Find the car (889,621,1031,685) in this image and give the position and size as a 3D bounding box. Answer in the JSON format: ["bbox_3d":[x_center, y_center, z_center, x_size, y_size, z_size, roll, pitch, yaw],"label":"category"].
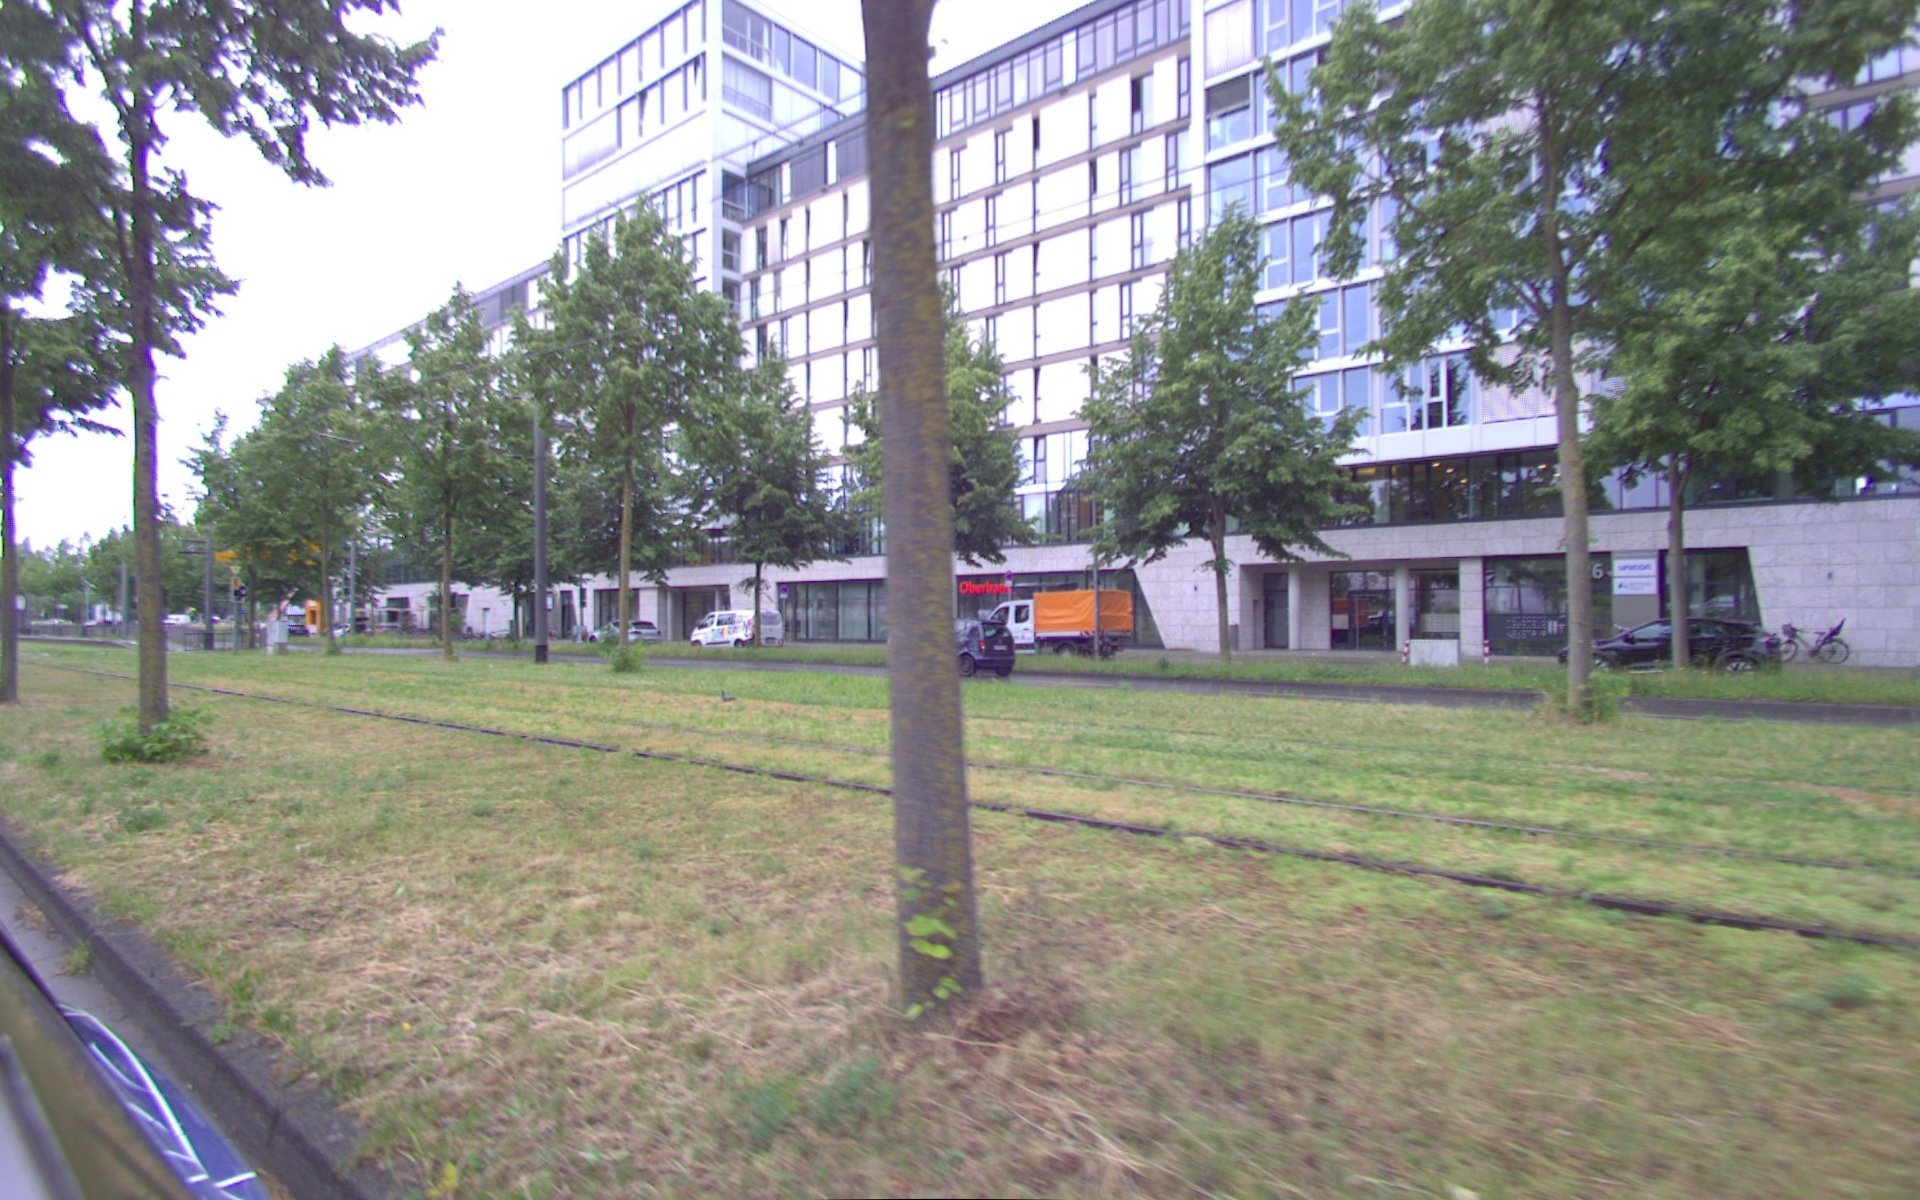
[{"bbox_3d":[-0.039,1.433,28.385,1.970,1.669,3.702,1,-2,-44],"label":"car"}]

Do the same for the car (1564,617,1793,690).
[{"bbox_3d":[15.826,1.132,22.397,3.985,1.476,1.836,-2,-2,40],"label":"car"}]

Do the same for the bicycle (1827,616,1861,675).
[{"bbox_3d":[24.272,1.218,27.798,0.606,1.550,1.552,-2,-1,39],"label":"bicycle"}]

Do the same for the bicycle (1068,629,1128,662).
[{"bbox_3d":[4.139,1.367,30.438,1.757,0.952,0.592,-2,-2,44],"label":"bicycle"}]

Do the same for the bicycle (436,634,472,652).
[{"bbox_3d":[-31.902,2.700,63.825,0.696,1.042,1.957,-2,-1,41],"label":"bicycle"}]

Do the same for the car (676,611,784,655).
[{"bbox_3d":[-10.303,1.464,45.164,5.160,1.866,1.973,-2,-1,40],"label":"car"}]

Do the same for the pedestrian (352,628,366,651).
[{"bbox_3d":[-45.052,2.976,75.808,0.793,1.704,0.703,-2,-1,43],"label":"pedestrian"}]

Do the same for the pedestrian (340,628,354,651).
[{"bbox_3d":[-45.570,2.937,75.247,0.793,1.704,0.703,-2,-1,43],"label":"pedestrian"}]

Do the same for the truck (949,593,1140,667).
[{"bbox_3d":[2.785,1.021,34.655,6.304,2.309,2.402,-2,-1,40],"label":"truck"}]

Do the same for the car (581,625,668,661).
[{"bbox_3d":[-16.817,2.119,50.582,4.460,1.725,2.123,-2,-1,40],"label":"car"}]

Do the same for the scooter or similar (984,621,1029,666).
[{"bbox_3d":[2.017,1.865,43.770,0.883,1.838,2.105,-2,-1,36],"label":"scooter or similar"}]

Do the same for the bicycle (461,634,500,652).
[{"bbox_3d":[-28.655,2.553,60.482,0.696,1.042,1.957,-2,-1,41],"label":"bicycle"}]

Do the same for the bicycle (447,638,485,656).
[{"bbox_3d":[-30.109,2.873,61.727,0.696,1.042,1.957,-2,-1,41],"label":"bicycle"}]

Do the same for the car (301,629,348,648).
[{"bbox_3d":[-48.113,2.900,76.593,4.069,1.298,1.972,-1,-1,42],"label":"car"}]
